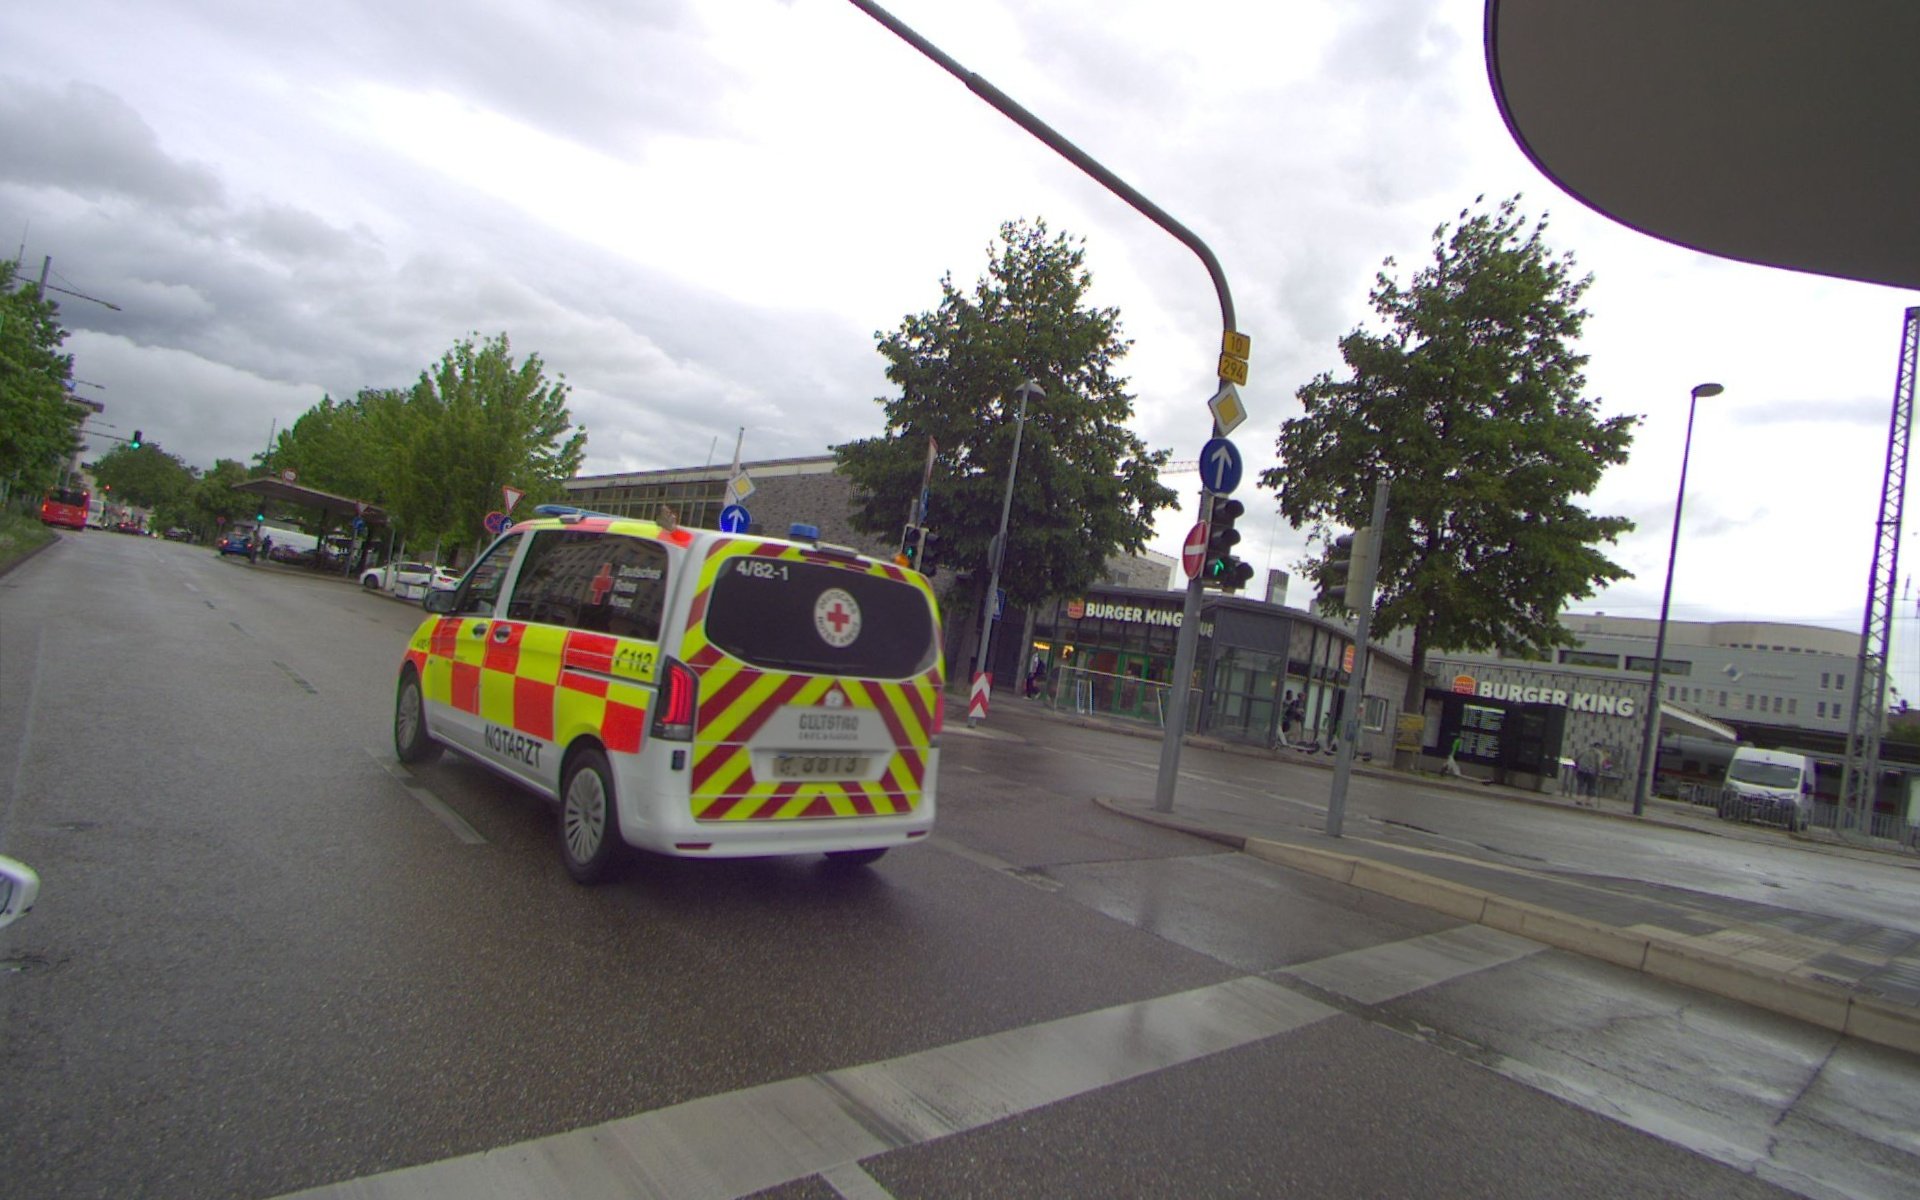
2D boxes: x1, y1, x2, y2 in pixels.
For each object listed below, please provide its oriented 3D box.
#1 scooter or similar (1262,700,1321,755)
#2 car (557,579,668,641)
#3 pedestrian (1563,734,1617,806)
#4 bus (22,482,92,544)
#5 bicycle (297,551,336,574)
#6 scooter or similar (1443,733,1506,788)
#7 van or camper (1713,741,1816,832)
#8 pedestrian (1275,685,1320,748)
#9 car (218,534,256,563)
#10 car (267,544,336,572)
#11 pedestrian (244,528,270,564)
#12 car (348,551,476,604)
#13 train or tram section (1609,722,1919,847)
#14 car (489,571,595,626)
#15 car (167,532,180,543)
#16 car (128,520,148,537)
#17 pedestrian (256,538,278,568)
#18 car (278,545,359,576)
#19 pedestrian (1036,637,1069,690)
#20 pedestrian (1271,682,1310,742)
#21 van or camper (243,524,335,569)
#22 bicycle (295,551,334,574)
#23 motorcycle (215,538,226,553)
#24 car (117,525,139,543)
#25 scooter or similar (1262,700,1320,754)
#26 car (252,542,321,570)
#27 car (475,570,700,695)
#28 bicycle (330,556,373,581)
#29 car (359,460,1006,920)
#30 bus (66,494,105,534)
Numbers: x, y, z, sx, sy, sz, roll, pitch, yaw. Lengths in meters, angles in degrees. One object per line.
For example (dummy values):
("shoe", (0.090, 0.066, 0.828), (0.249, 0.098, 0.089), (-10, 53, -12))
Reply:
("scooter or similar", (8.380, 3.222, 25.429), (1.279, 1.196, 0.334), (7, -1, 17))
("car", (-12.787, 0.327, 36.831), (1.989, 1.617, 4.901), (11, -4, -41))
("pedestrian", (15.031, 4.041, 24.019), (0.824, 1.547, 0.638), (7, -1, 20))
("bus", (-71.469, -6.834, 79.816), (3.533, 4.025, 11.044), (9, -2, -41))
("bicycle", (-37.565, -2.175, 58.785), (0.413, 1.068, 1.831), (6, -2, 31))
("scooter or similar", (13.249, 4.127, 25.929), (1.279, 1.196, 0.334), (7, -1, 17))
("van or camper", (26.924, 6.142, 33.575), (2.136, 2.461, 5.838), (6, -3, 43))
("pedestrian", (9.906, 3.420, 29.545), (0.715, 1.686, 0.791), (8, -1, -30))
("car", (-48.489, -3.451, 67.484), (1.850, 1.586, 3.962), (10, -4, -36))
("car", (-50.691, -3.226, 77.495), (1.831, 1.458, 4.004), (7, -4, 23))
("pedestrian", (-37.192, -2.847, 53.219), (0.824, 1.766, 0.746), (6, -3, 41))
("car", (-24.014, -0.971, 44.115), (4.686, 1.563, 1.767), (8, -3, 10))
("train or tram section", (50.175, 10.508, 50.793), (4.575, 4.230, 28.983), (9, -3, -40))
("car", (-17.246, -0.087, 41.380), (4.890, 1.618, 1.992), (6, -2, 42))
("car", (-138.337, -11.036, 176.927), (1.589, 1.578, 3.610), (9, -2, -40))
("car", (-116.834, -10.200, 142.930), (1.986, 2.037, 3.956), (9, -2, -40))
("pedestrian", (-45.395, -3.089, 65.907), (0.854, 1.855, 1.177), (9, -3, -41))
("car", (-43.277, -2.628, 67.960), (1.809, 1.339, 4.198), (6, -4, 30))
("pedestrian", (3.068, 2.109, 33.415), (0.764, 1.687, 0.645), (5, -1, 28))
("pedestrian", (10.132, 3.427, 30.836), (0.709, 1.686, 0.798), (7, -1, -2))
("van or camper", (-55.786, -4.386, 83.790), (2.158, 2.794, 5.969), (7, -2, 23))
("bicycle", (-37.896, -2.205, 59.112), (0.413, 1.068, 1.831), (6, -2, 31))
("motorcycle", (-69.244, -5.118, 94.232), (0.592, 1.303, 1.935), (9, -2, -34))
("car", (-107.944, -8.577, 130.563), (1.986, 2.037, 3.956), (9, -2, -40))
("scooter or similar", (8.555, 3.269, 26.003), (1.279, 1.196, 0.334), (7, -1, 17))
("car", (-52.631, -3.438, 78.682), (1.831, 1.458, 4.004), (7, -4, 23))
("car", (-6.069, 0.456, 16.093), (1.690, 1.482, 4.398), (9, -3, -43))
("bicycle", (-31.820, -1.640, 52.624), (1.821, 1.068, 0.416), (9, -2, -41))
("car", (-2.270, 0.363, 6.941), (1.989, 2.037, 5.000), (9, -2, -43))
("bus", (-98.590, -9.643, 113.375), (2.797, 3.789, 10.323), (9, -3, -42))
